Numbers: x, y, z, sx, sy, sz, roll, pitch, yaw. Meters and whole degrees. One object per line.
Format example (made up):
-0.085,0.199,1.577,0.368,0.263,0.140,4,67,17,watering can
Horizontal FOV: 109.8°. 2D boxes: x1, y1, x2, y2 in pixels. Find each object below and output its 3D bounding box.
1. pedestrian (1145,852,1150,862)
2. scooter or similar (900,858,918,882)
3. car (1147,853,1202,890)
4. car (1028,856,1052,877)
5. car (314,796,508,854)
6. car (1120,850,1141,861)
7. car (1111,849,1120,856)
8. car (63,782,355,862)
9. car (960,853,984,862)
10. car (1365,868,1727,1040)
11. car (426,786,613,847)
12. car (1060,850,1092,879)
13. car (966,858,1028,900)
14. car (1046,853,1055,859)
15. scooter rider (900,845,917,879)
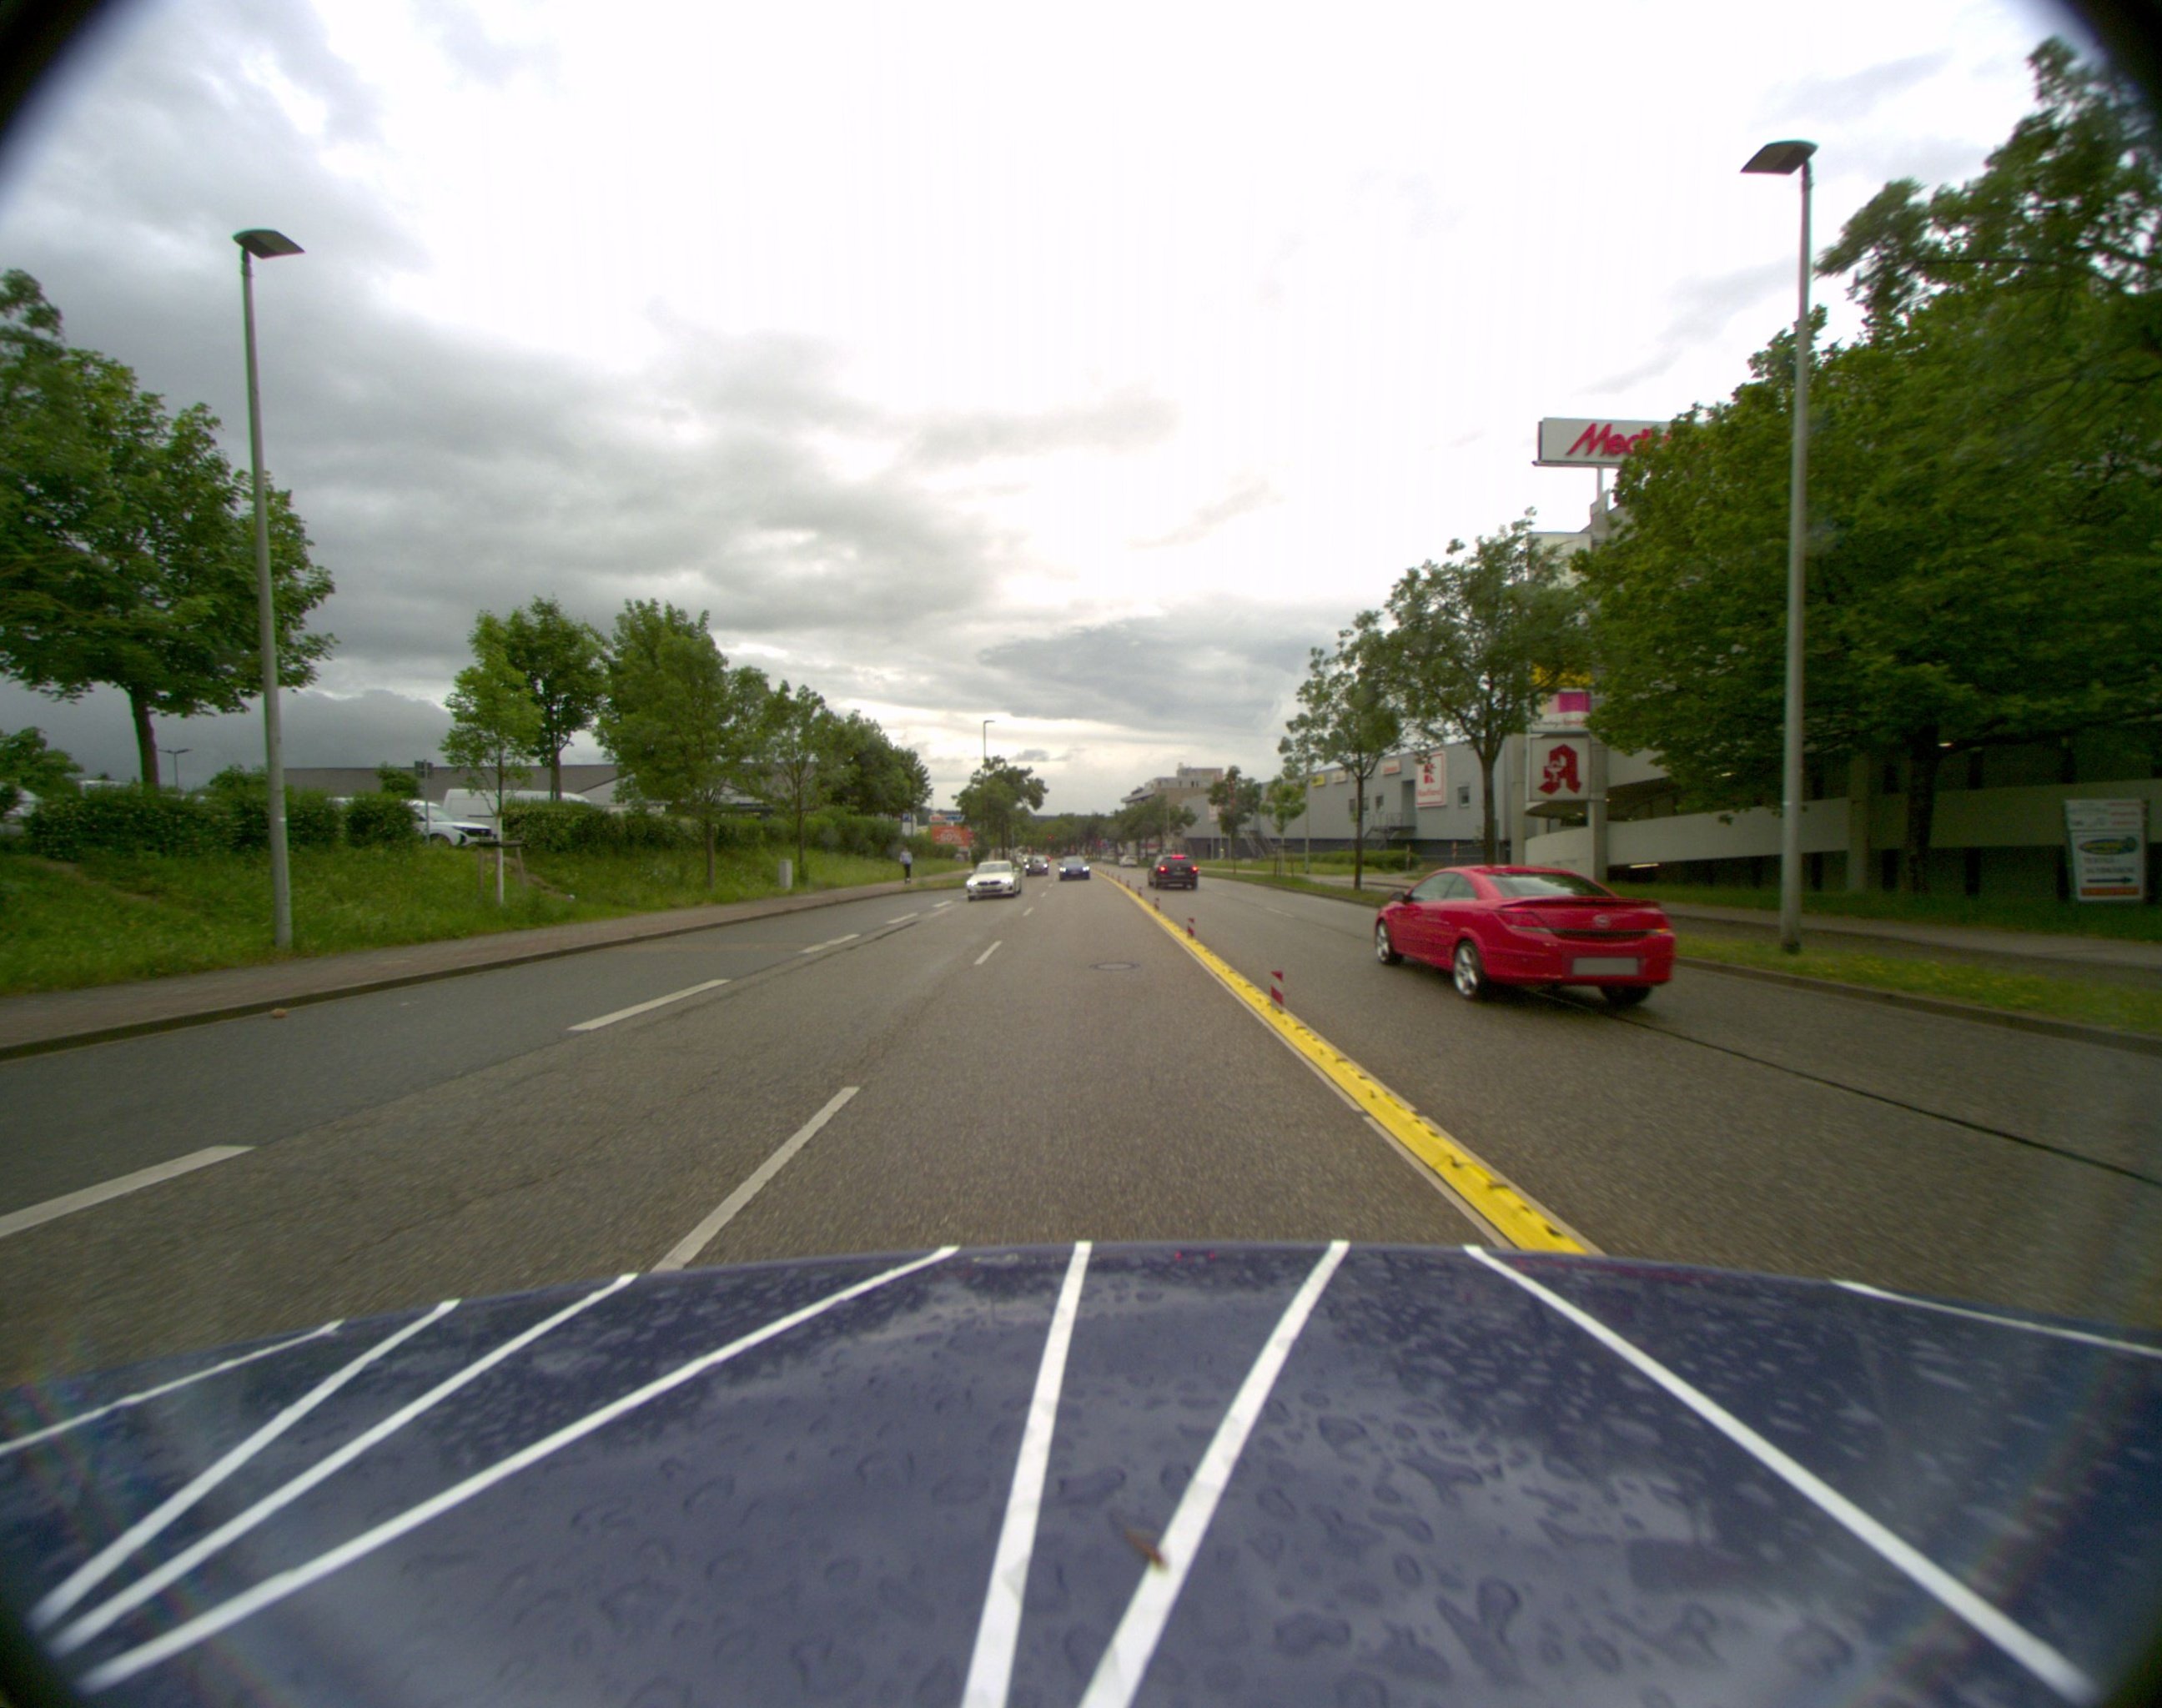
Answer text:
11.488,0.505,130.968,0.586,1.574,0.766,-3,1,-4,pedestrian
-9.447,0.890,41.821,0.696,1.256,1.400,1,1,0,scooter or similar
4.037,0.695,33.487,1.832,1.457,4.615,1,1,0,car
-3.399,0.996,62.846,1.799,1.572,4.217,-3,0,-3,car
-21.382,-0.906,24.410,4.360,1.619,1.927,2,1,-5,car
6.181,0.223,95.046,1.905,1.400,4.421,0,0,-7,car
10.045,-0.478,222.598,1.999,2.002,4.884,-5,1,-1,car
-20.242,-0.705,17.823,4.360,1.619,1.927,2,1,-5,car
-23.090,0.726,160.756,4.666,1.591,1.927,2,0,4,car
4.841,0.912,8.744,1.766,1.417,4.181,0,0,3,car
-22.201,-1.446,30.277,5.625,2.130,2.120,2,1,-7,car
-0.318,0.614,47.190,1.799,1.572,4.218,-3,0,-1,car
-3.307,0.948,30.688,1.808,1.432,4.542,-3,0,1,car
-7.892,0.552,195.719,1.789,1.398,4.613,0,0,-8,car
-9.444,0.416,41.673,0.696,1.810,0.858,1,1,0,scooter rider
